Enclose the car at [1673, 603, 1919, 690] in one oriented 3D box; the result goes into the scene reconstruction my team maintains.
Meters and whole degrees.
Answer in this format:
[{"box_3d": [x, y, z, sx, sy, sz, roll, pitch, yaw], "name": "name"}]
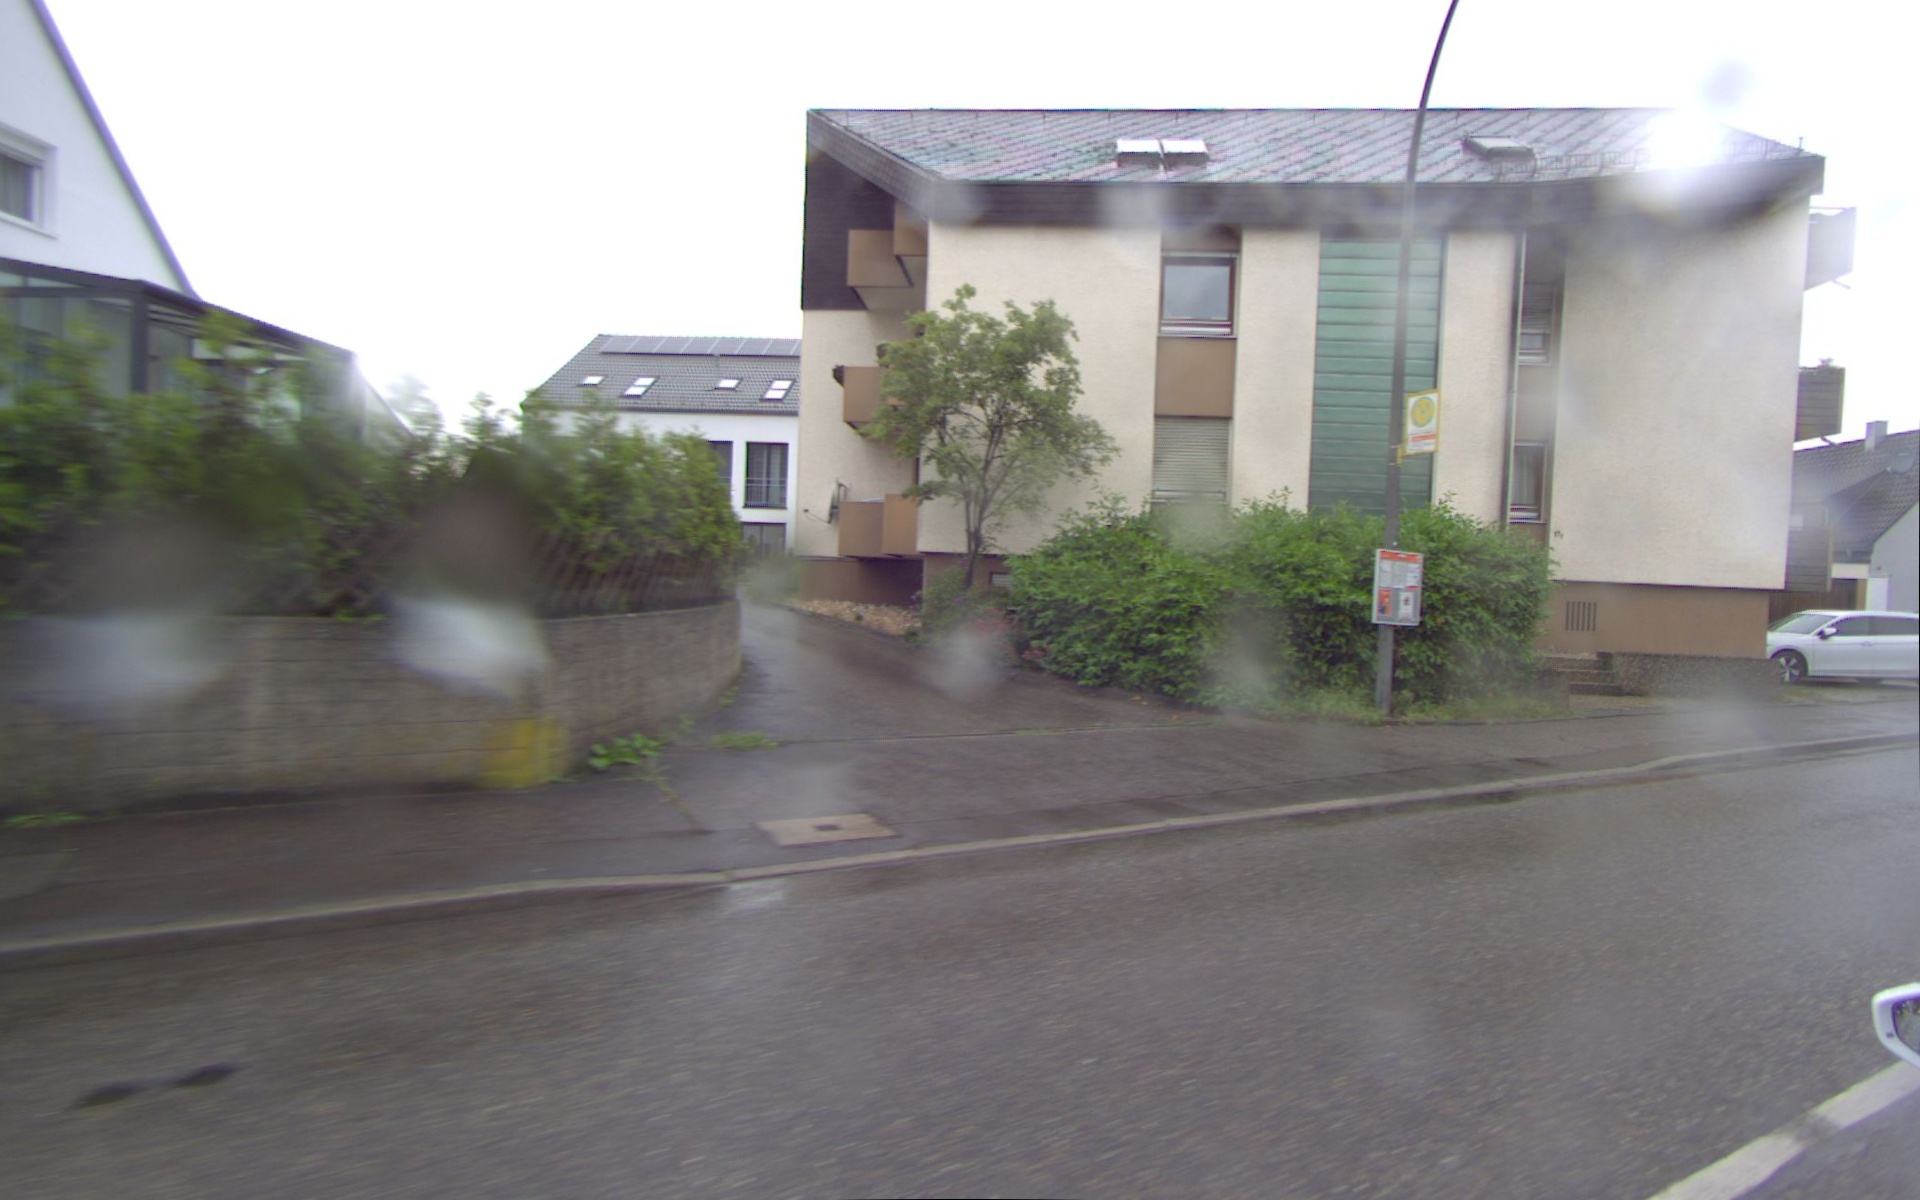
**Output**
[{"box_3d": [17.500, 0.920, 20.206, 4.784, 1.497, 1.907, 2, 2, 4], "name": "car"}]
